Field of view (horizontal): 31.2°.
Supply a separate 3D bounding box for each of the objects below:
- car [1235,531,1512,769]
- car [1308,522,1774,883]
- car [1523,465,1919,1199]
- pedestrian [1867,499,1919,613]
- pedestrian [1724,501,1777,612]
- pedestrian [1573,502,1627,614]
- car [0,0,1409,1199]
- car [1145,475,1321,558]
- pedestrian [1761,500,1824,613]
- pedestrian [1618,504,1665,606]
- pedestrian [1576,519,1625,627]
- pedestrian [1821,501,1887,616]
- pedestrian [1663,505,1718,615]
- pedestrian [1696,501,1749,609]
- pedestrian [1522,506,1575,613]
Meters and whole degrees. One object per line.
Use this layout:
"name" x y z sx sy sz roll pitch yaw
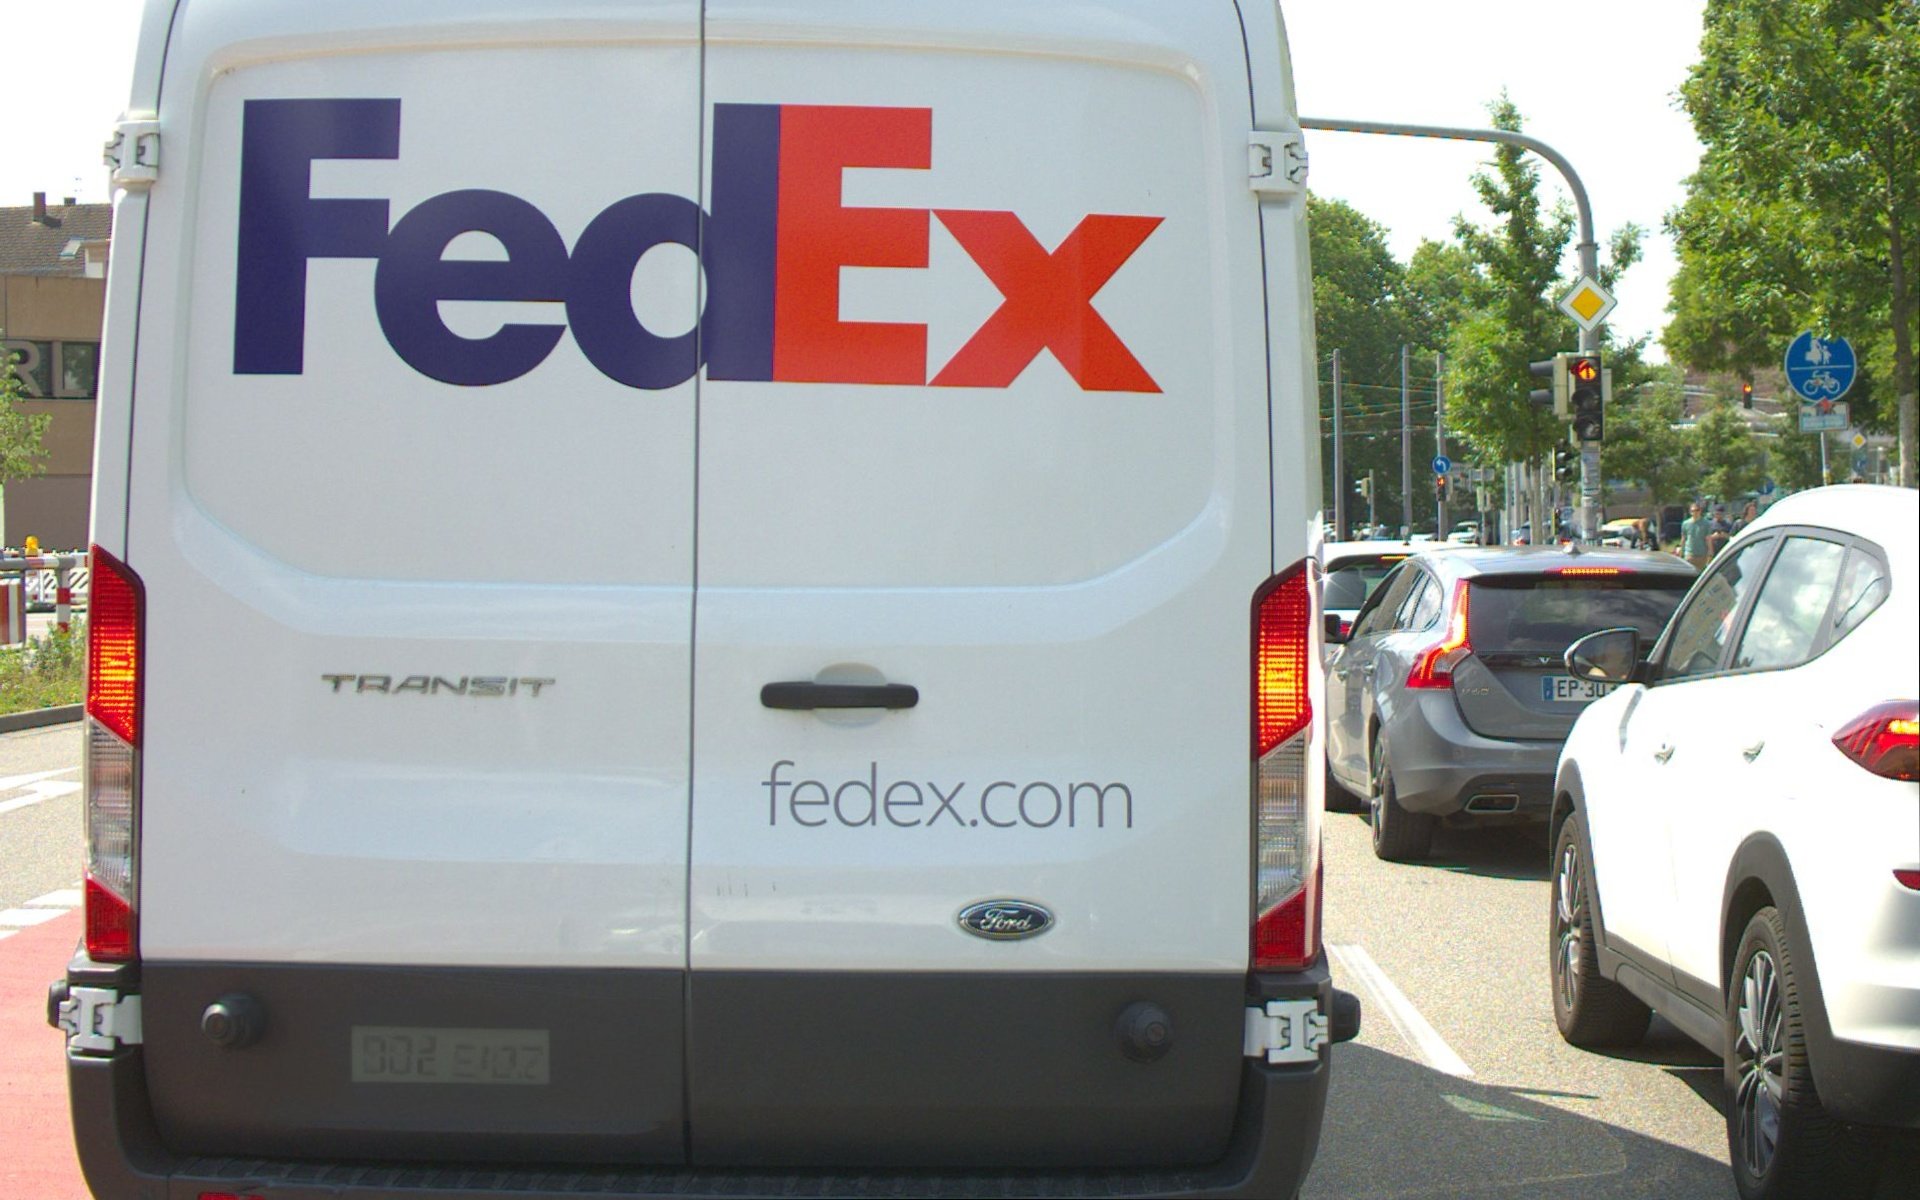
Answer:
"car" 2.723 0.280 23.237 1.499 1.459 3.474 0 1 1
"car" 2.711 0.404 16.786 1.691 1.543 3.720 0 1 1
"car" 2.611 0.520 8.588 1.814 1.673 3.974 0 1 1
"pedestrian" 15.375 -0.732 56.246 0.758 1.843 0.816 -1 1 -8
"pedestrian" 12.824 -0.703 55.764 0.759 1.783 0.816 0 1 8
"pedestrian" 10.547 -0.697 56.673 0.759 1.843 0.815 0 1 18
"car" -0.351 0.068 7.225 2.072 2.572 4.428 0 1 1
"car" 9.467 -2.836 118.554 2.493 2.708 7.068 1 1 39
"pedestrian" 13.669 -0.720 56.454 0.758 1.843 0.816 -1 1 -6
"pedestrian" 12.365 -0.824 62.404 0.759 1.843 0.816 -1 1 6
"pedestrian" 11.005 -0.468 59.034 0.759 1.843 0.816 0 1 15
"pedestrian" 14.569 -0.681 56.039 0.758 1.843 0.816 -1 1 -10
"pedestrian" 12.374 -0.689 58.231 0.759 1.843 0.816 -1 1 1
"pedestrian" 13.158 -0.781 59.355 0.759 1.843 0.816 -1 1 3
"pedestrian" 10.247 -0.707 59.895 0.813 1.843 0.761 -1 1 3
